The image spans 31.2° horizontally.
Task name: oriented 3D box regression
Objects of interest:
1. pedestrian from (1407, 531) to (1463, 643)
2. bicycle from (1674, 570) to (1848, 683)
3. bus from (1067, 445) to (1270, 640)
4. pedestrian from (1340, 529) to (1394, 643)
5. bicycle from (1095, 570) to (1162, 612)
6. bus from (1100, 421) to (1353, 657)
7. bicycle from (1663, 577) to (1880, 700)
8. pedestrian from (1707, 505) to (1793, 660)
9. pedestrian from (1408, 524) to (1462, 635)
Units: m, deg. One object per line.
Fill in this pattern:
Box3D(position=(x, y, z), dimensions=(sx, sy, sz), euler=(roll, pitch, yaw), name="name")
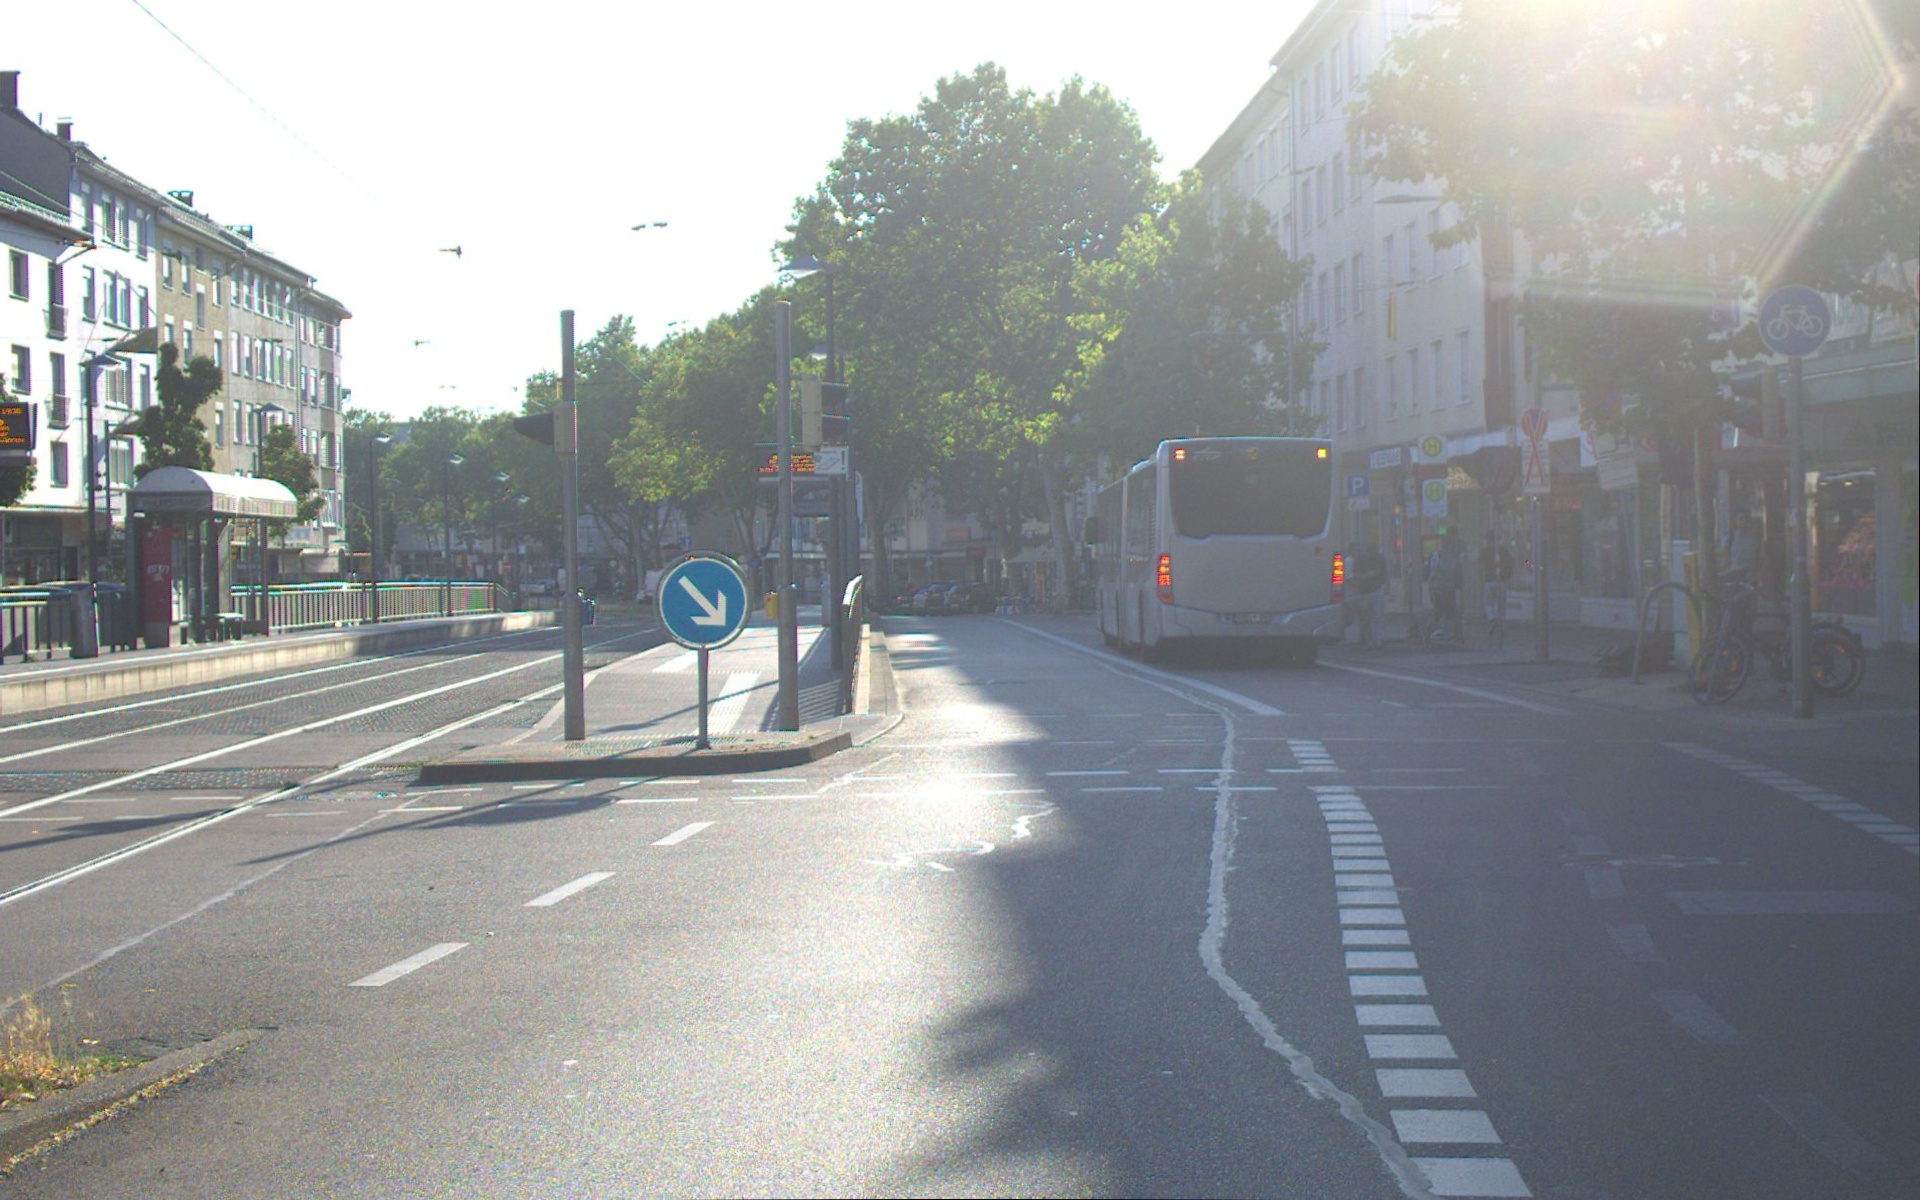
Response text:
Box3D(position=(7.442, -0.204, 53.851), dimensions=(0.723, 1.717, 0.766), euler=(-1, 0, -1), name="pedestrian")
Box3D(position=(7.401, 0.242, 31.773), dimensions=(1.482, 1.005, 0.454), euler=(-1, 1, -4), name="bicycle")
Box3D(position=(3.460, -0.969, 59.334), dimensions=(2.696, 3.107, 9.071), euler=(0, 1, -2), name="bus")
Box3D(position=(6.488, -0.227, 54.872), dimensions=(0.723, 1.800, 0.766), euler=(-1, 0, -1), name="pedestrian")
Box3D(position=(4.939, -0.269, 100.943), dimensions=(1.887, 1.073, 0.754), euler=(-5, 1, 2), name="bicycle")
Box3D(position=(3.722, -0.863, 50.147), dimensions=(2.696, 3.107, 9.382), euler=(0, 1, -2), name="bus")
Box3D(position=(7.357, 0.345, 31.197), dimensions=(1.798, 1.005, 0.541), euler=(-3, 1, -4), name="bicycle")
Box3D(position=(9.181, -0.208, 39.964), dimensions=(0.743, 1.774, 0.895), euler=(-1, 0, -1), name="pedestrian")
Box3D(position=(7.709, -0.338, 55.816), dimensions=(0.723, 1.773, 0.766), euler=(-1, 0, -1), name="pedestrian")
